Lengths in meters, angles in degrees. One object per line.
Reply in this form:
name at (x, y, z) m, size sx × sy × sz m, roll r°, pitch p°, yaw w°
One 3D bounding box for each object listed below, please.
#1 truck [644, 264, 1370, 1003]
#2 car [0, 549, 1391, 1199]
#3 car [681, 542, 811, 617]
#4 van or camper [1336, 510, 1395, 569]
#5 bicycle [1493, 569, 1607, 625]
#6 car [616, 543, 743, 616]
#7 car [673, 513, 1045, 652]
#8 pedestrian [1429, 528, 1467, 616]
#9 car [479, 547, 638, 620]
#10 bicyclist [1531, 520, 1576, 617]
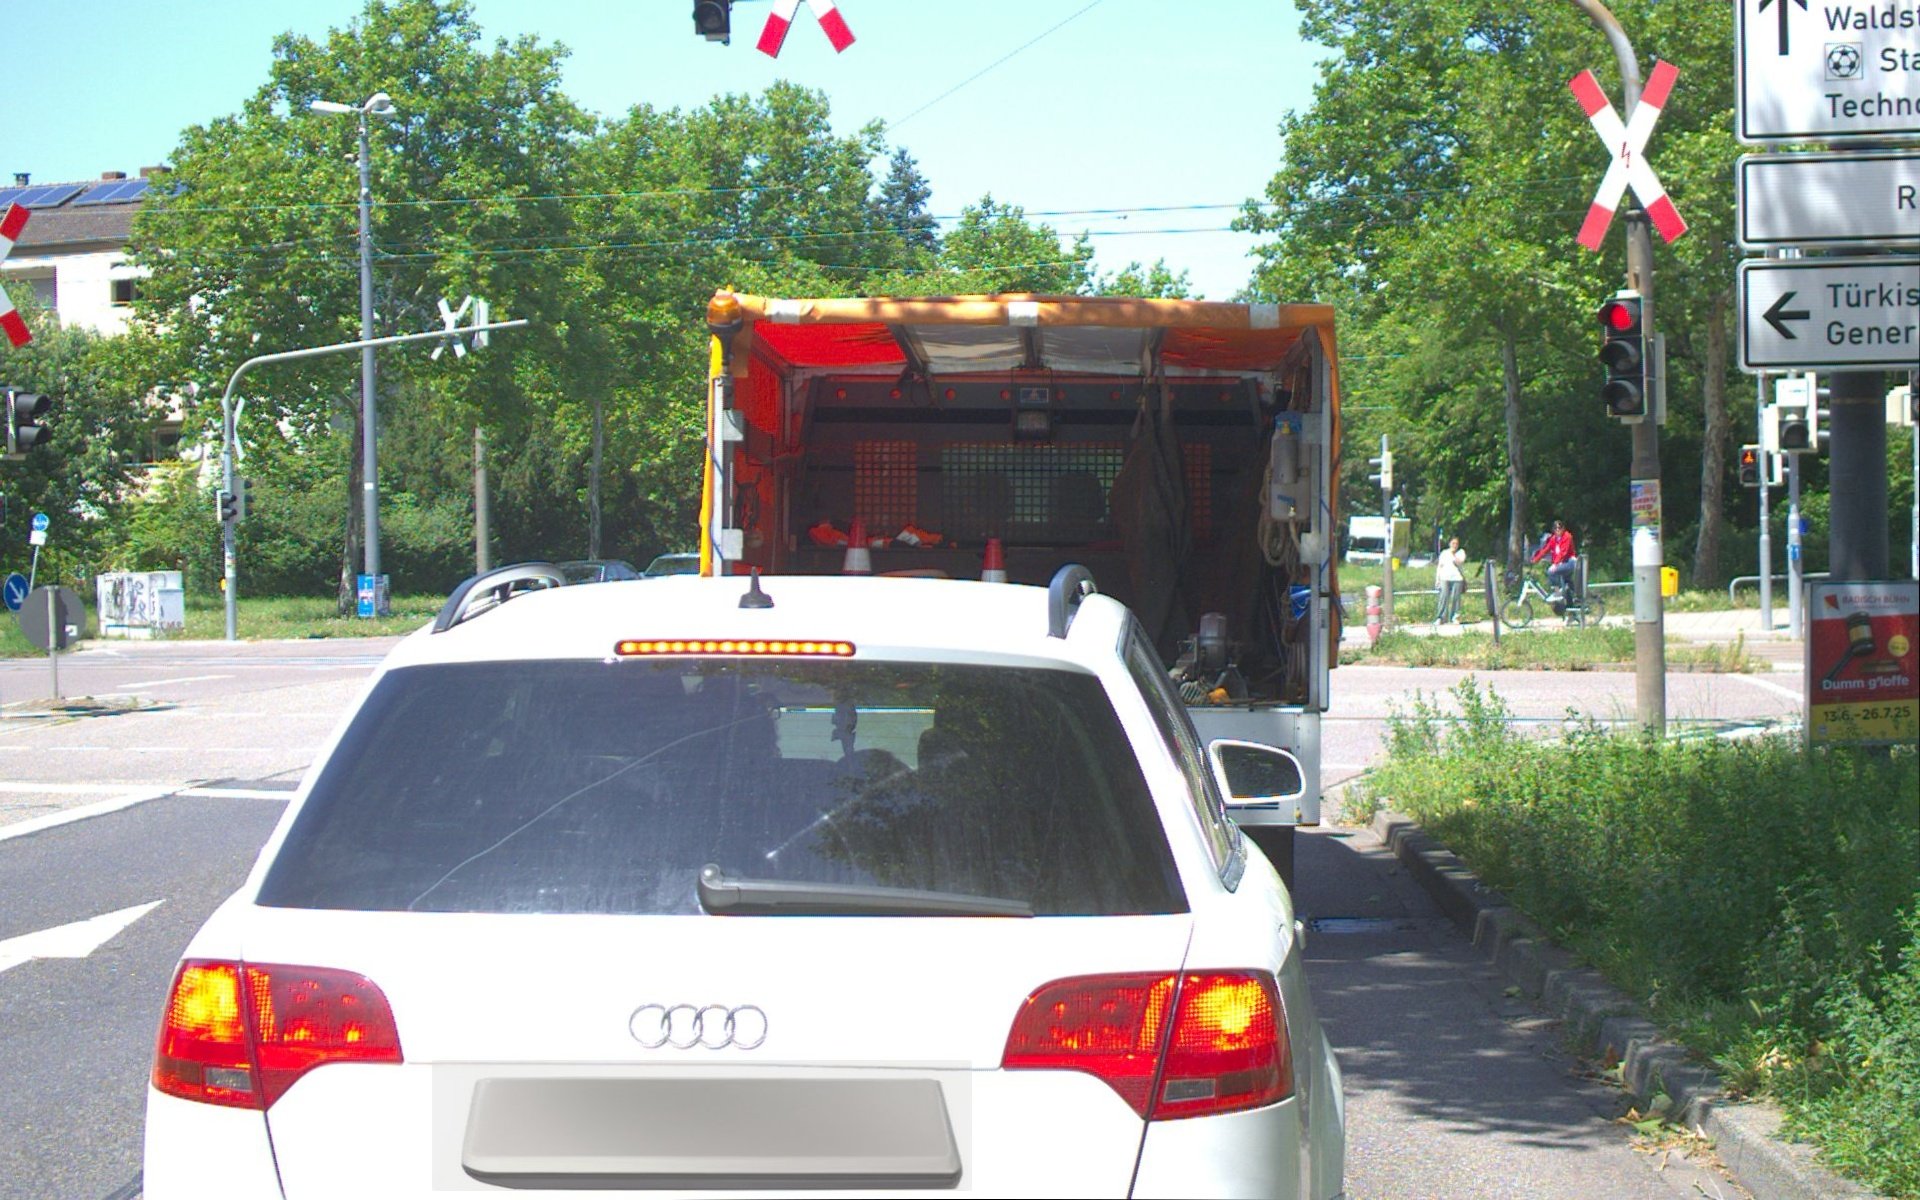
truck at (0.328, 0.061, 15.840) m, size 2.511 × 2.551 × 7.603 m, roll 1°, pitch 1°, yaw 3°
car at (-0.251, 0.642, 5.999) m, size 1.763 × 1.440 × 3.615 m, roll 0°, pitch 1°, yaw 4°
car at (-4.579, -0.467, 74.124) m, size 1.909 × 1.533 × 4.297 m, roll -1°, pitch 1°, yaw 8°
van or camper at (23.563, -3.518, 199.687) m, size 2.662 × 3.320 × 5.497 m, roll 0°, pitch 1°, yaw 14°
bicycle at (9.571, -0.053, 55.821) m, size 1.806 × 0.892 × 0.589 m, roll 0°, pitch 1°, yaw 7°
car at (-6.558, -0.504, 80.912) m, size 1.788 × 1.609 × 4.402 m, roll -1°, pitch 1°, yaw 12°
car at (-1.313, -0.246, 44.073) m, size 4.428 × 1.673 × 1.918 m, roll -1°, pitch 1°, yaw -15°
pedestrian at (8.294, -0.486, 58.428) m, size 0.553 × 1.479 × 0.629 m, roll -1°, pitch 1°, yaw 16°
car at (-8.521, -0.376, 73.407) m, size 1.950 × 1.435 × 4.744 m, roll 0°, pitch 2°, yaw 12°
bicyclist at (9.632, -0.518, 55.802) m, size 0.671 × 1.551 × 0.579 m, roll -1°, pitch 1°, yaw 7°
